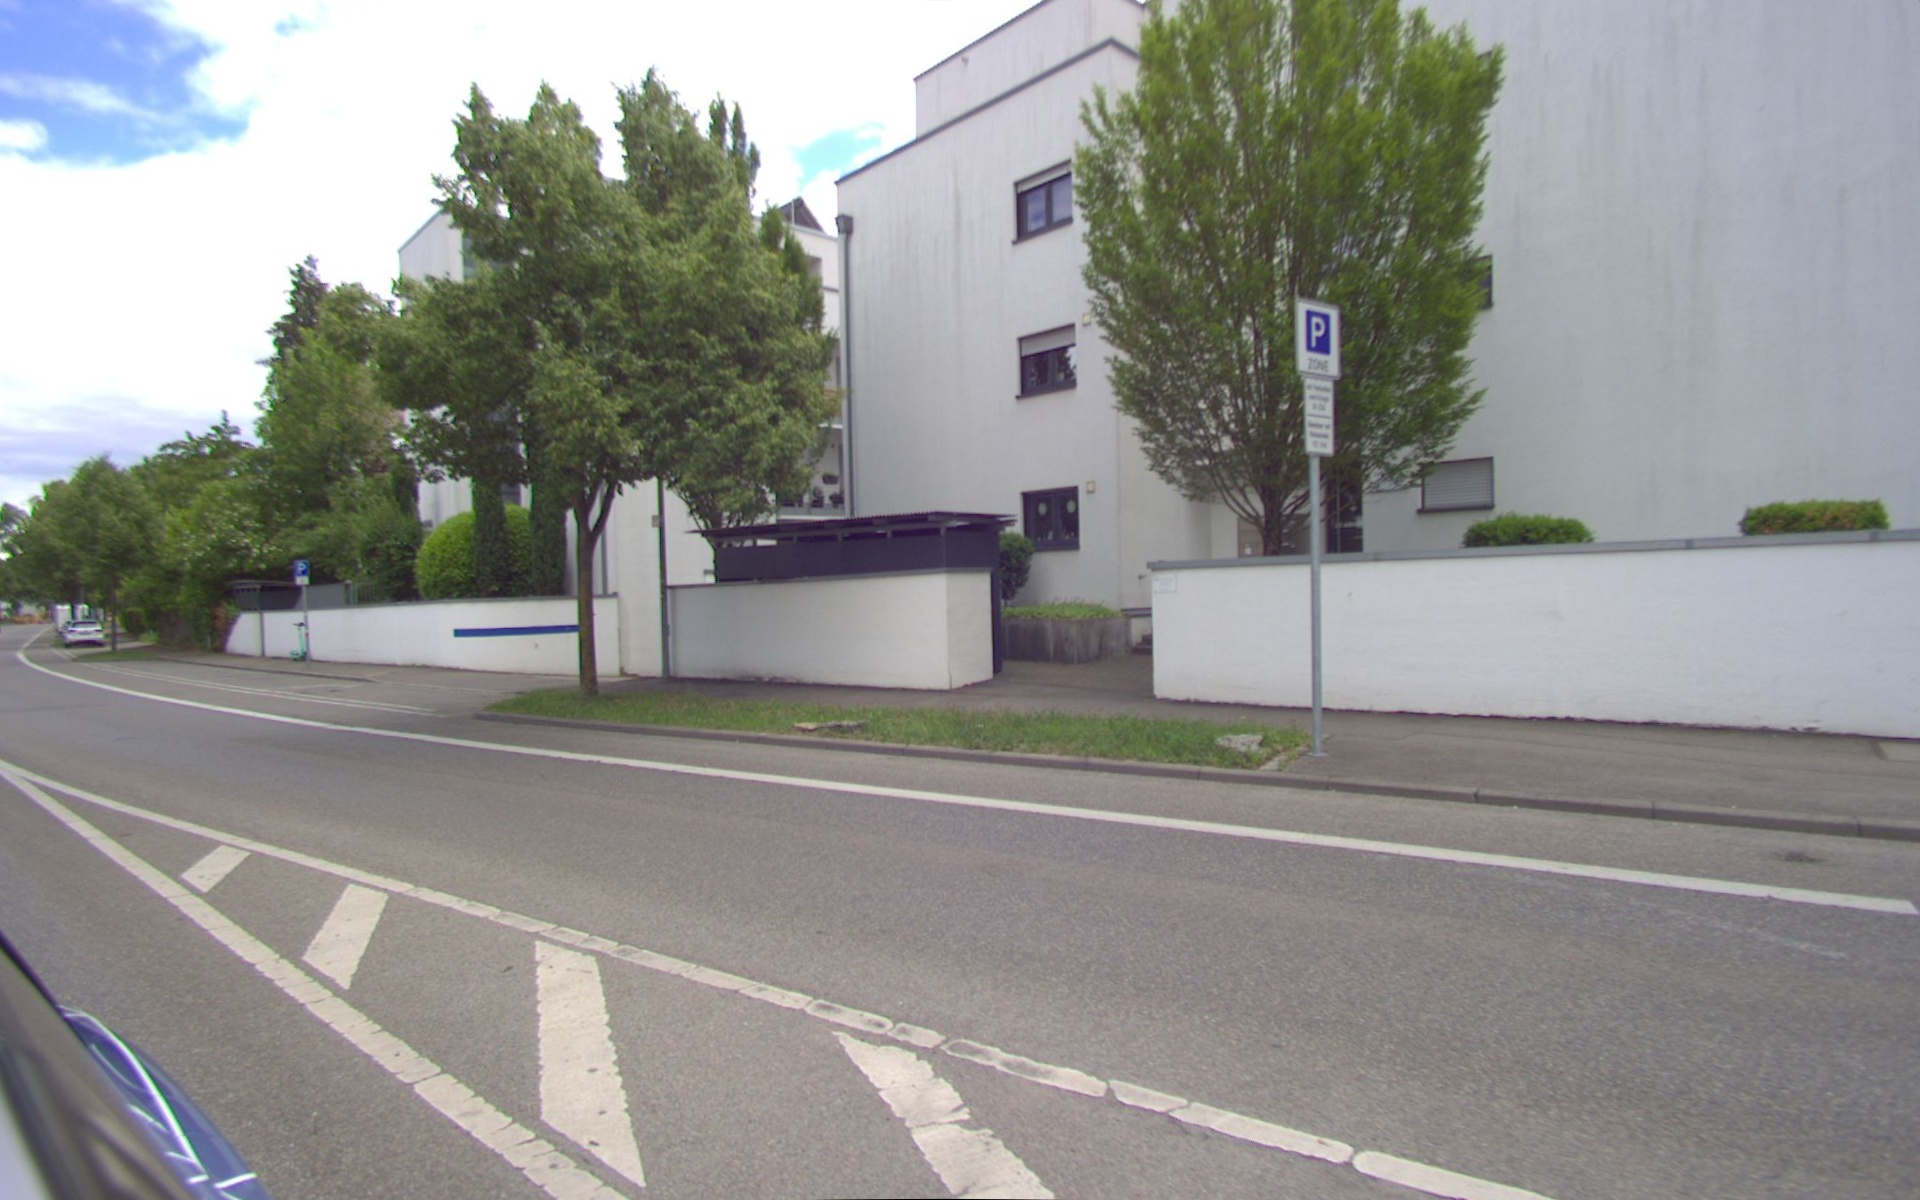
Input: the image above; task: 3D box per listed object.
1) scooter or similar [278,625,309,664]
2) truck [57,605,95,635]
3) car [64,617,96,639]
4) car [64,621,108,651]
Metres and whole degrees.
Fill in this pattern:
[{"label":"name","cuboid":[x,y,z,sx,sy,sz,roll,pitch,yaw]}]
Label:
[{"label":"scooter or similar","cuboid":[-20.824,1.375,31.610,1.327,1.174,0.429,-2,3,43]},{"label":"truck","cuboid":[-87.931,2.003,100.602,2.604,2.793,6.264,-2,1,-43]},{"label":"car","cuboid":[-70.316,2.233,80.888,1.862,1.628,4.006,-2,0,-41]},{"label":"car","cuboid":[-52.333,2.125,60.610,1.889,1.665,4.006,-2,0,-41]}]
